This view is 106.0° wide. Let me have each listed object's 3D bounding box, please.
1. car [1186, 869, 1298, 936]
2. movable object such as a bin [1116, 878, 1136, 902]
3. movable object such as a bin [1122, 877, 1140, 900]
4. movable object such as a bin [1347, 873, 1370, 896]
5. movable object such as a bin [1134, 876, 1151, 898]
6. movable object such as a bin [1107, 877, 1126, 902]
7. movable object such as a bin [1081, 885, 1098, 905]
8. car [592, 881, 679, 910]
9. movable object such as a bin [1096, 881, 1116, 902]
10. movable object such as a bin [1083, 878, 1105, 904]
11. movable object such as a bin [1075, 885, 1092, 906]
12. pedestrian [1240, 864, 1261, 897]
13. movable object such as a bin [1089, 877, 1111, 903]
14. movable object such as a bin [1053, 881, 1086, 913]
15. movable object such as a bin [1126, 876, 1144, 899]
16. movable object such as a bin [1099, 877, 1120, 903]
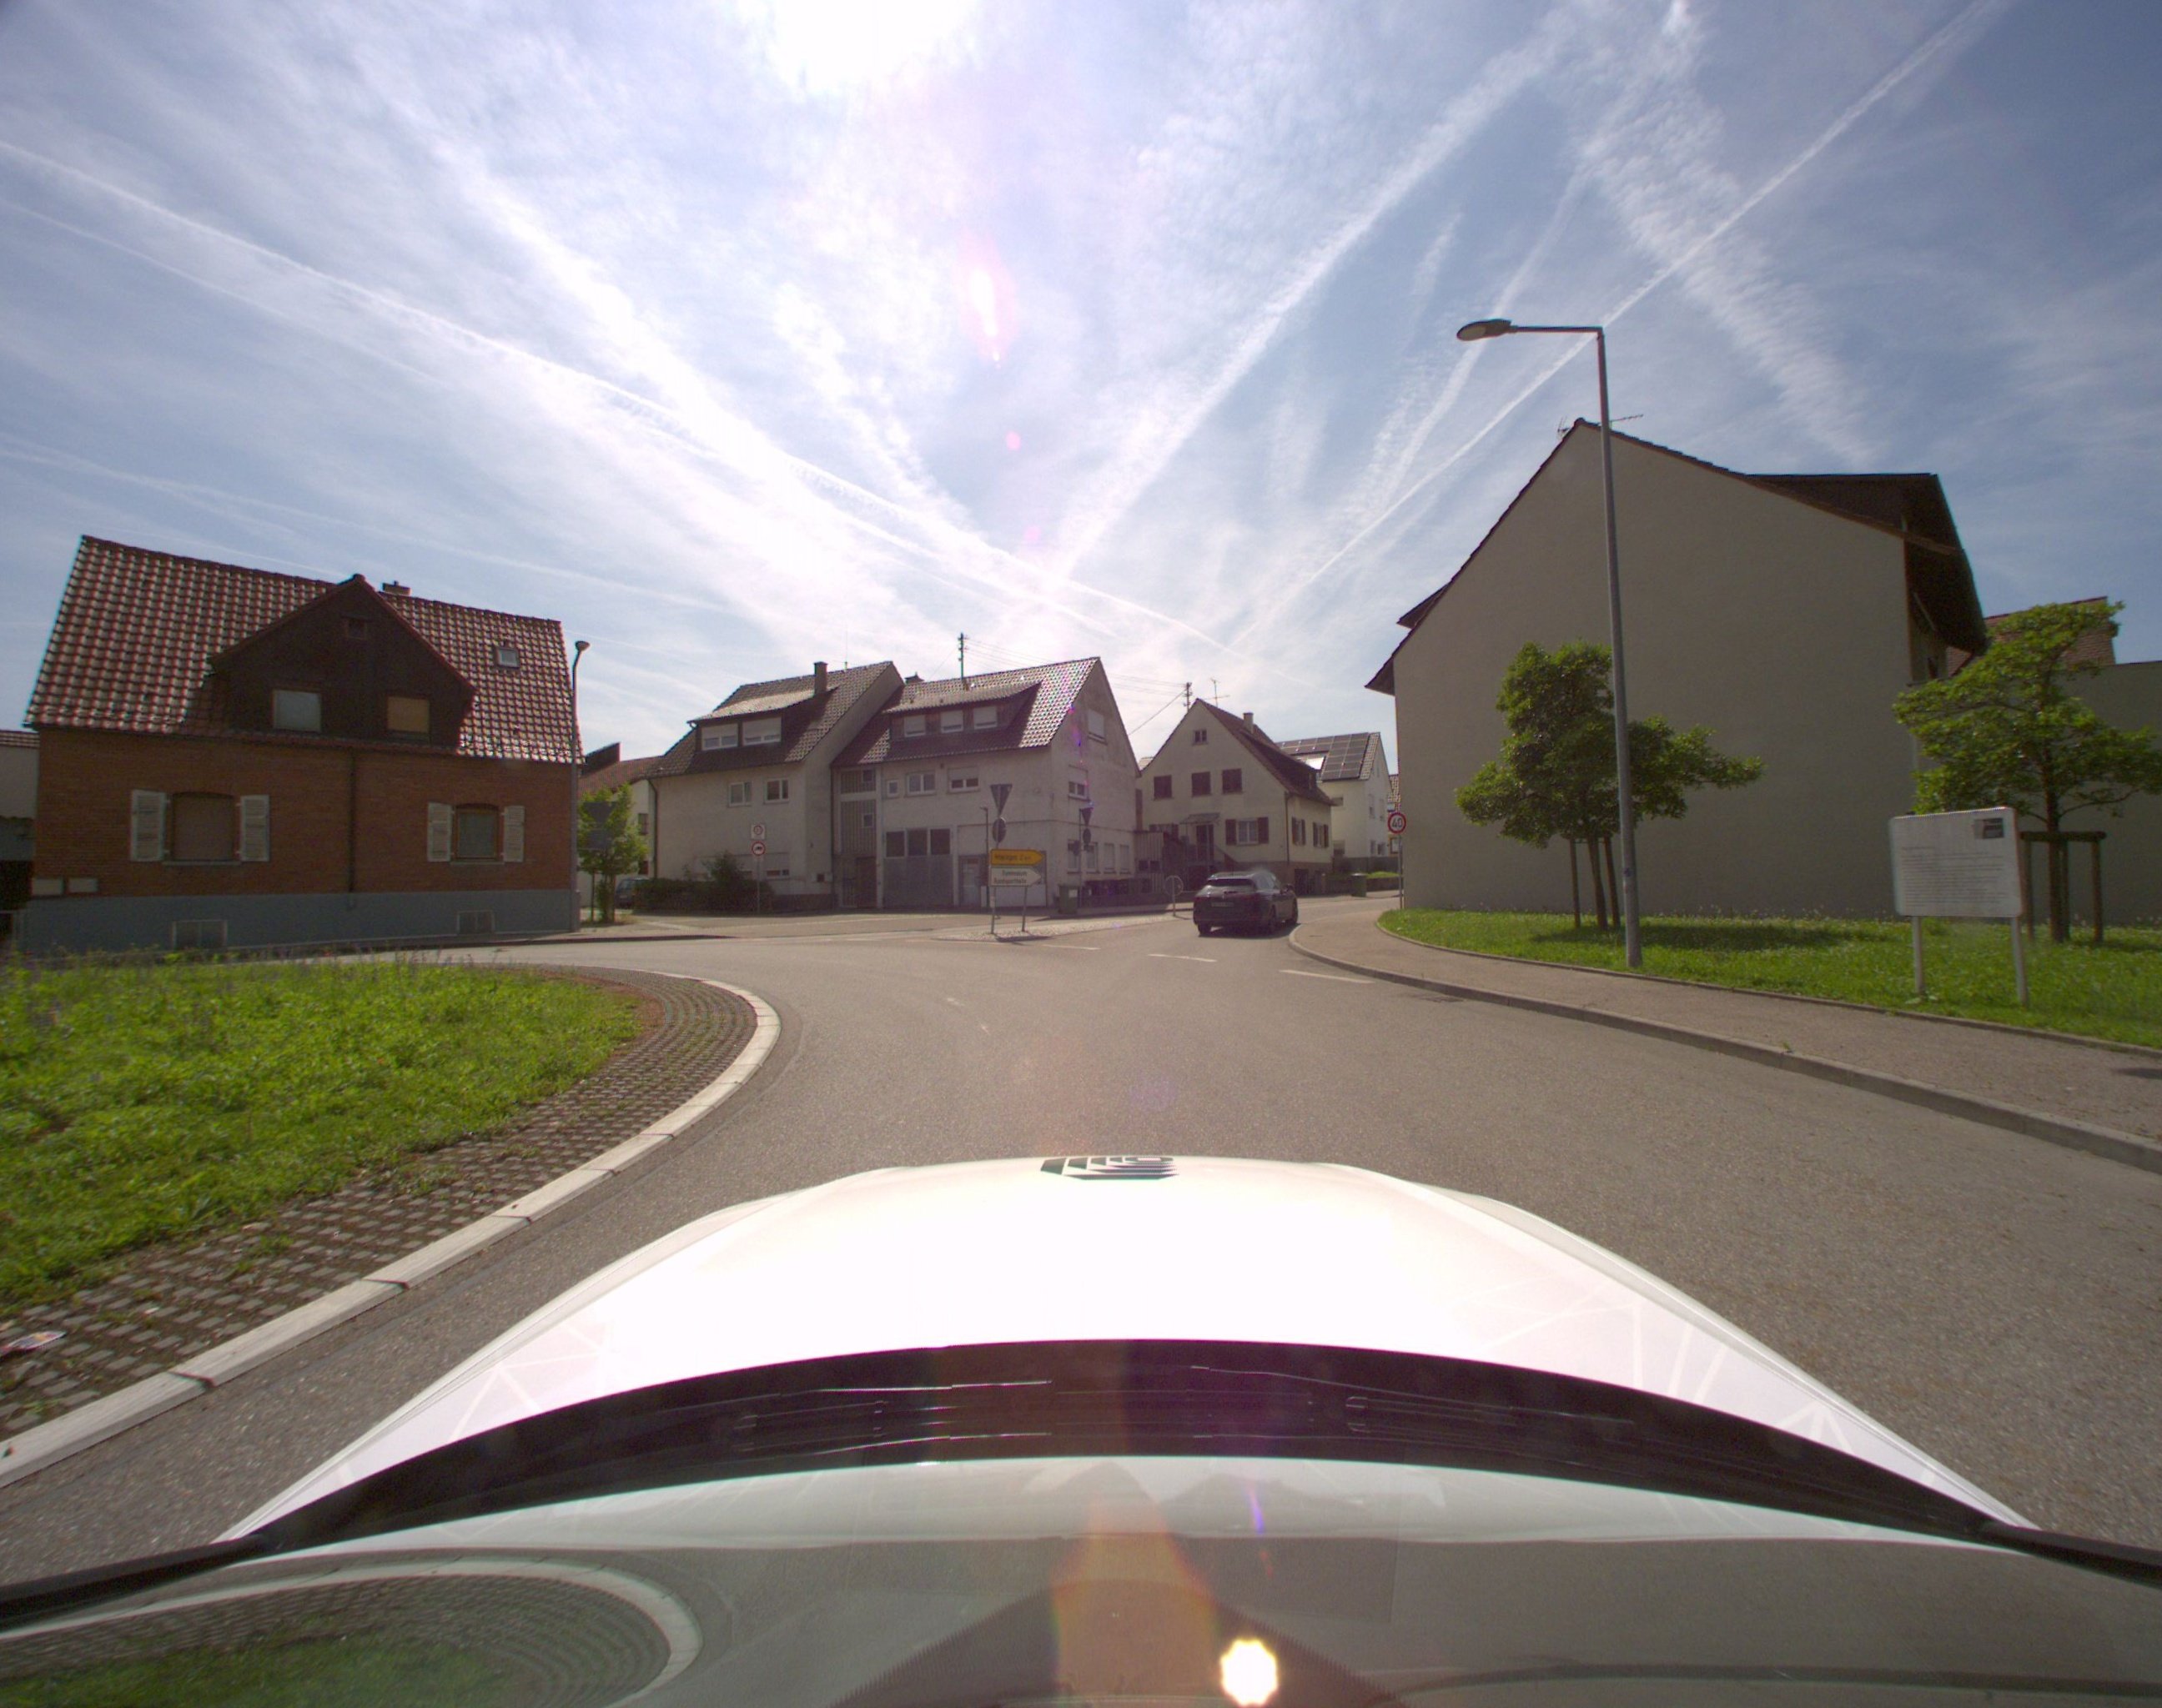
[{"bbox_3d":[4.158,1.123,20.419,1.825,1.420,4.707,-2,-1,23],"label":"car"},{"bbox_3d":[2.053,1.644,37.239,0.732,1.082,0.664,-2,-1,22],"label":"movable object such as a bin"},{"bbox_3d":[2.318,1.603,37.965,0.672,1.082,0.587,-2,-1,22],"label":"movable object such as a bin"},{"bbox_3d":[13.012,1.427,38.176,0.655,1.057,0.784,0,-2,-45],"label":"movable object such as a bin"},{"bbox_3d":[2.963,1.582,39.024,0.623,1.034,0.616,-2,-1,22],"label":"movable object such as a bin"},{"bbox_3d":[1.599,1.591,36.422,0.677,1.082,0.629,-2,-1,22],"label":"movable object such as a bin"},{"bbox_3d":[0.351,1.675,33.515,0.481,0.780,0.530,-2,-1,22],"label":"movable object such as a bin"},{"bbox_3d":[-21.521,1.984,39.456,1.474,1.251,3.429,-2,-1,27],"label":"car"},{"bbox_3d":[1.094,1.642,35.415,0.677,0.896,0.702,-2,-1,22],"label":"movable object such as a bin"},{"bbox_3d":[0.542,1.543,34.111,0.677,1.086,0.648,-2,-1,22],"label":"movable object such as a bin"},{"bbox_3d":[0.104,1.689,32.978,0.481,0.805,0.650,-2,-1,24],"label":"movable object such as a bin"},{"bbox_3d":[8.318,1.301,39.876,0.769,1.574,0.631,-2,-1,40],"label":"pedestrian"},{"bbox_3d":[0.812,1.538,34.757,0.677,1.086,0.702,-2,-1,22],"label":"movable object such as a bin"},{"bbox_3d":[-0.388,1.481,28.220,0.829,1.045,0.803,-1,-1,-31],"label":"movable object such as a bin"},{"bbox_3d":[2.557,1.581,38.520,0.622,1.035,0.607,-2,-1,22],"label":"movable object such as a bin"},{"bbox_3d":[1.256,1.582,35.773,0.677,1.082,0.702,-2,-1,22],"label":"movable object such as a bin"}]
